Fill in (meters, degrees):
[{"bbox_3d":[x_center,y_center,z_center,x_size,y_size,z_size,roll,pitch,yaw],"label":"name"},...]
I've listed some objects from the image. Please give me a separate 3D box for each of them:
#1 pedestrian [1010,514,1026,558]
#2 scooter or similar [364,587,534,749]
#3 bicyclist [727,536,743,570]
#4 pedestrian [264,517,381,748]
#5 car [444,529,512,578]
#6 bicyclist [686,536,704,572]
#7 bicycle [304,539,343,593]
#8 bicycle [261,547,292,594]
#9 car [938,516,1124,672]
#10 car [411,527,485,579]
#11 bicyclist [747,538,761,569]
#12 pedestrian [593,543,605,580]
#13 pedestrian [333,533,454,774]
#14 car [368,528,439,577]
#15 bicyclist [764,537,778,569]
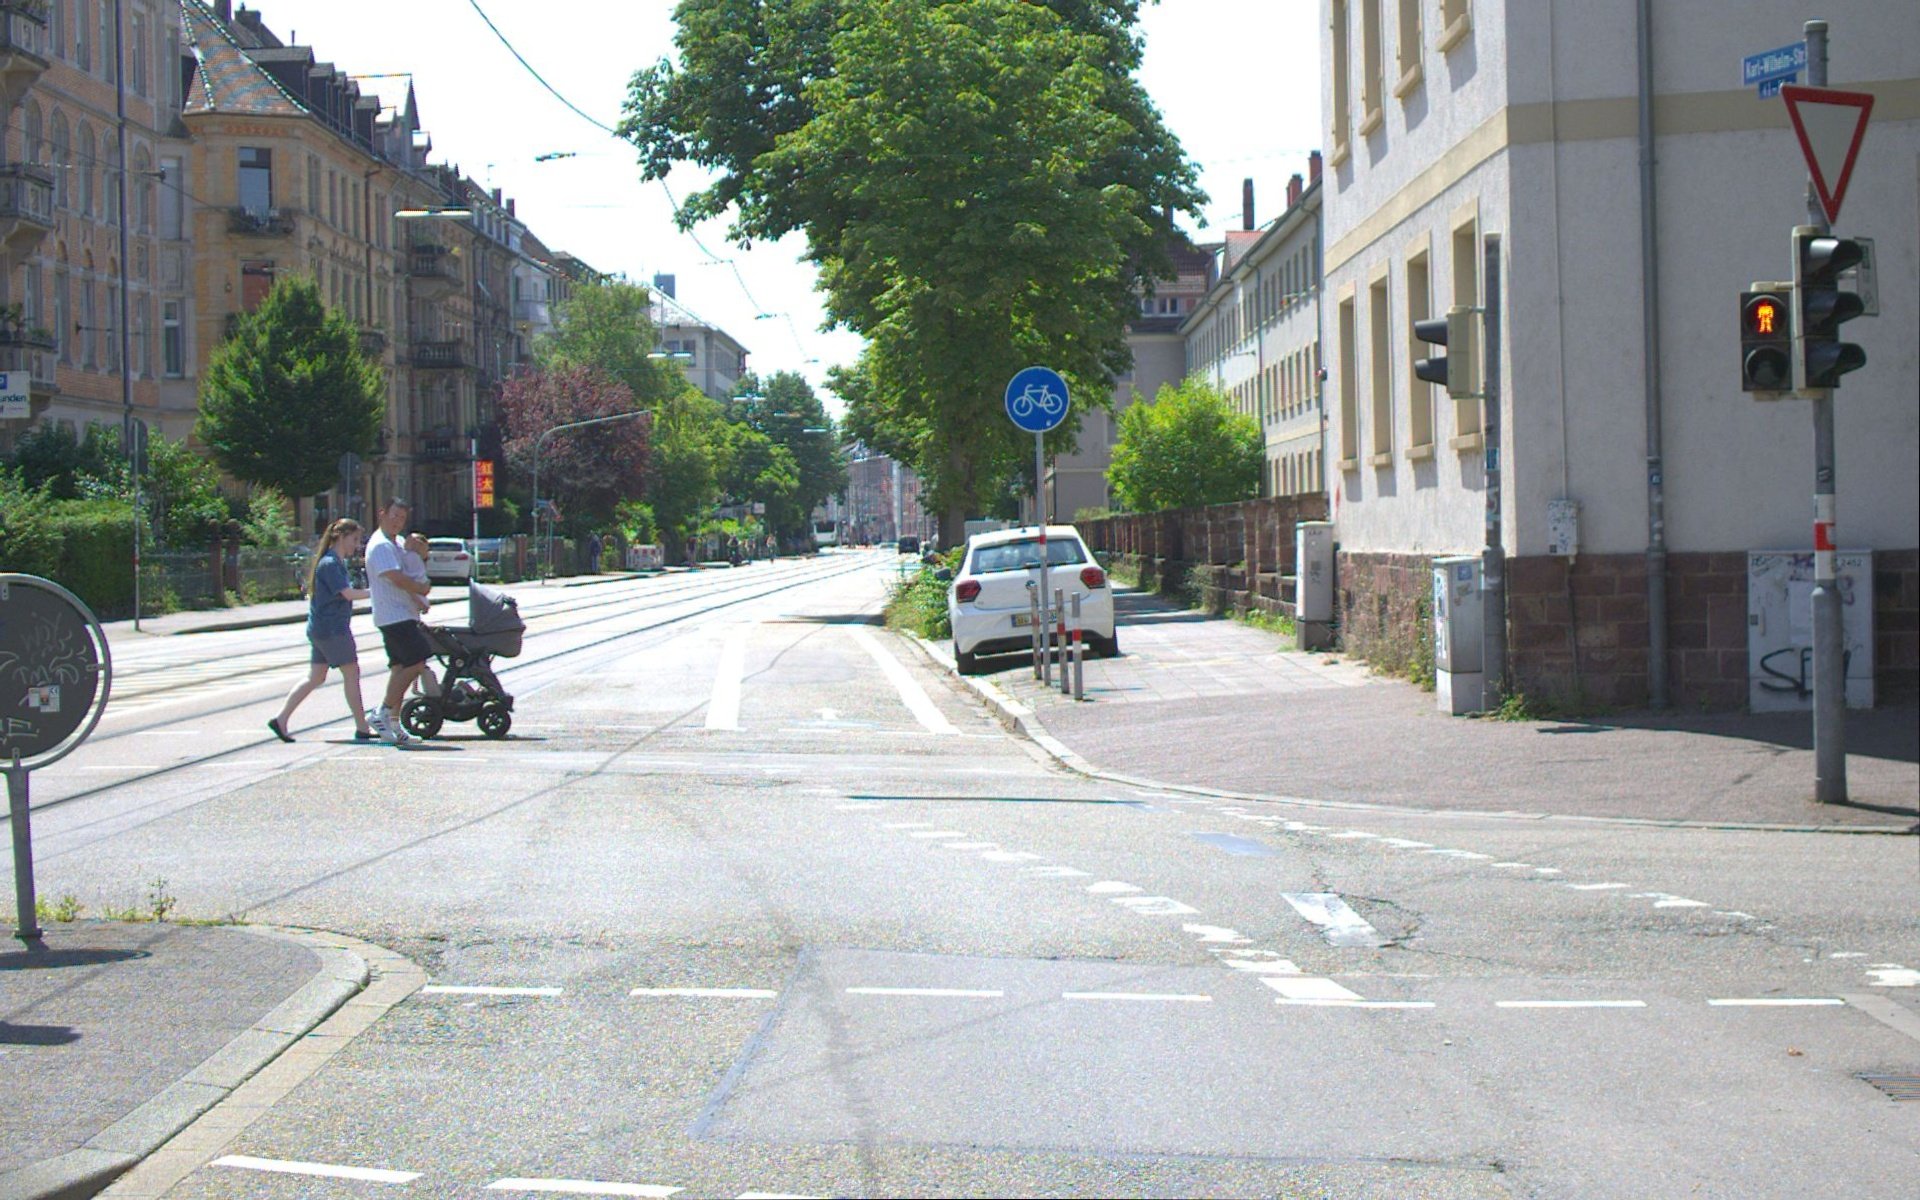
[{"bbox_3d":[2.069,-2.305,122.911,0.521,1.557,0.573,-1,1,-1],"label":"pedestrian"},{"bbox_3d":[-3.715,0.487,25.035,1.201,1.151,0.558,1,0,-7],"label":"scooter or similar"},{"bbox_3d":[-11.983,-2.511,183.354,0.727,1.762,1.079,1,0,1],"label":"bicyclist"},{"bbox_3d":[-4.611,0.229,24.879,0.675,1.640,0.558,1,0,7],"label":"pedestrian"},{"bbox_3d":[-17.346,-1.661,123.832,1.919,1.709,4.000,1,1,-1],"label":"car"},{"bbox_3d":[-12.230,-2.127,158.710,0.727,1.623,1.079,1,0,1],"label":"bicyclist"},{"bbox_3d":[-15.670,-0.847,84.671,0.677,1.274,1.919,-1,1,-3],"label":"bicycle"},{"bbox_3d":[-15.912,-0.697,80.029,0.677,1.061,1.919,-1,1,-11],"label":"bicycle"},{"bbox_3d":[0.717,-0.081,37.333,1.815,1.511,4.000,-3,1,-1],"label":"car"},{"bbox_3d":[-17.201,-1.576,115.568,1.919,1.709,4.000,1,1,-1],"label":"car"},{"bbox_3d":[-12.096,-2.727,201.888,0.727,1.812,1.079,1,0,1],"label":"bicyclist"},{"bbox_3d":[-14.662,-1.561,139.516,0.406,1.456,0.436,-1,1,-1],"label":"pedestrian"},{"bbox_3d":[-3.937,0.364,23.914,0.675,1.640,0.558,1,0,7],"label":"pedestrian"},{"bbox_3d":[-20.032,-1.698,123.905,1.919,1.709,4.000,1,1,-1],"label":"car"},{"bbox_3d":[-11.090,-2.755,201.826,0.727,1.812,1.079,1,0,1],"label":"bicyclist"}]
